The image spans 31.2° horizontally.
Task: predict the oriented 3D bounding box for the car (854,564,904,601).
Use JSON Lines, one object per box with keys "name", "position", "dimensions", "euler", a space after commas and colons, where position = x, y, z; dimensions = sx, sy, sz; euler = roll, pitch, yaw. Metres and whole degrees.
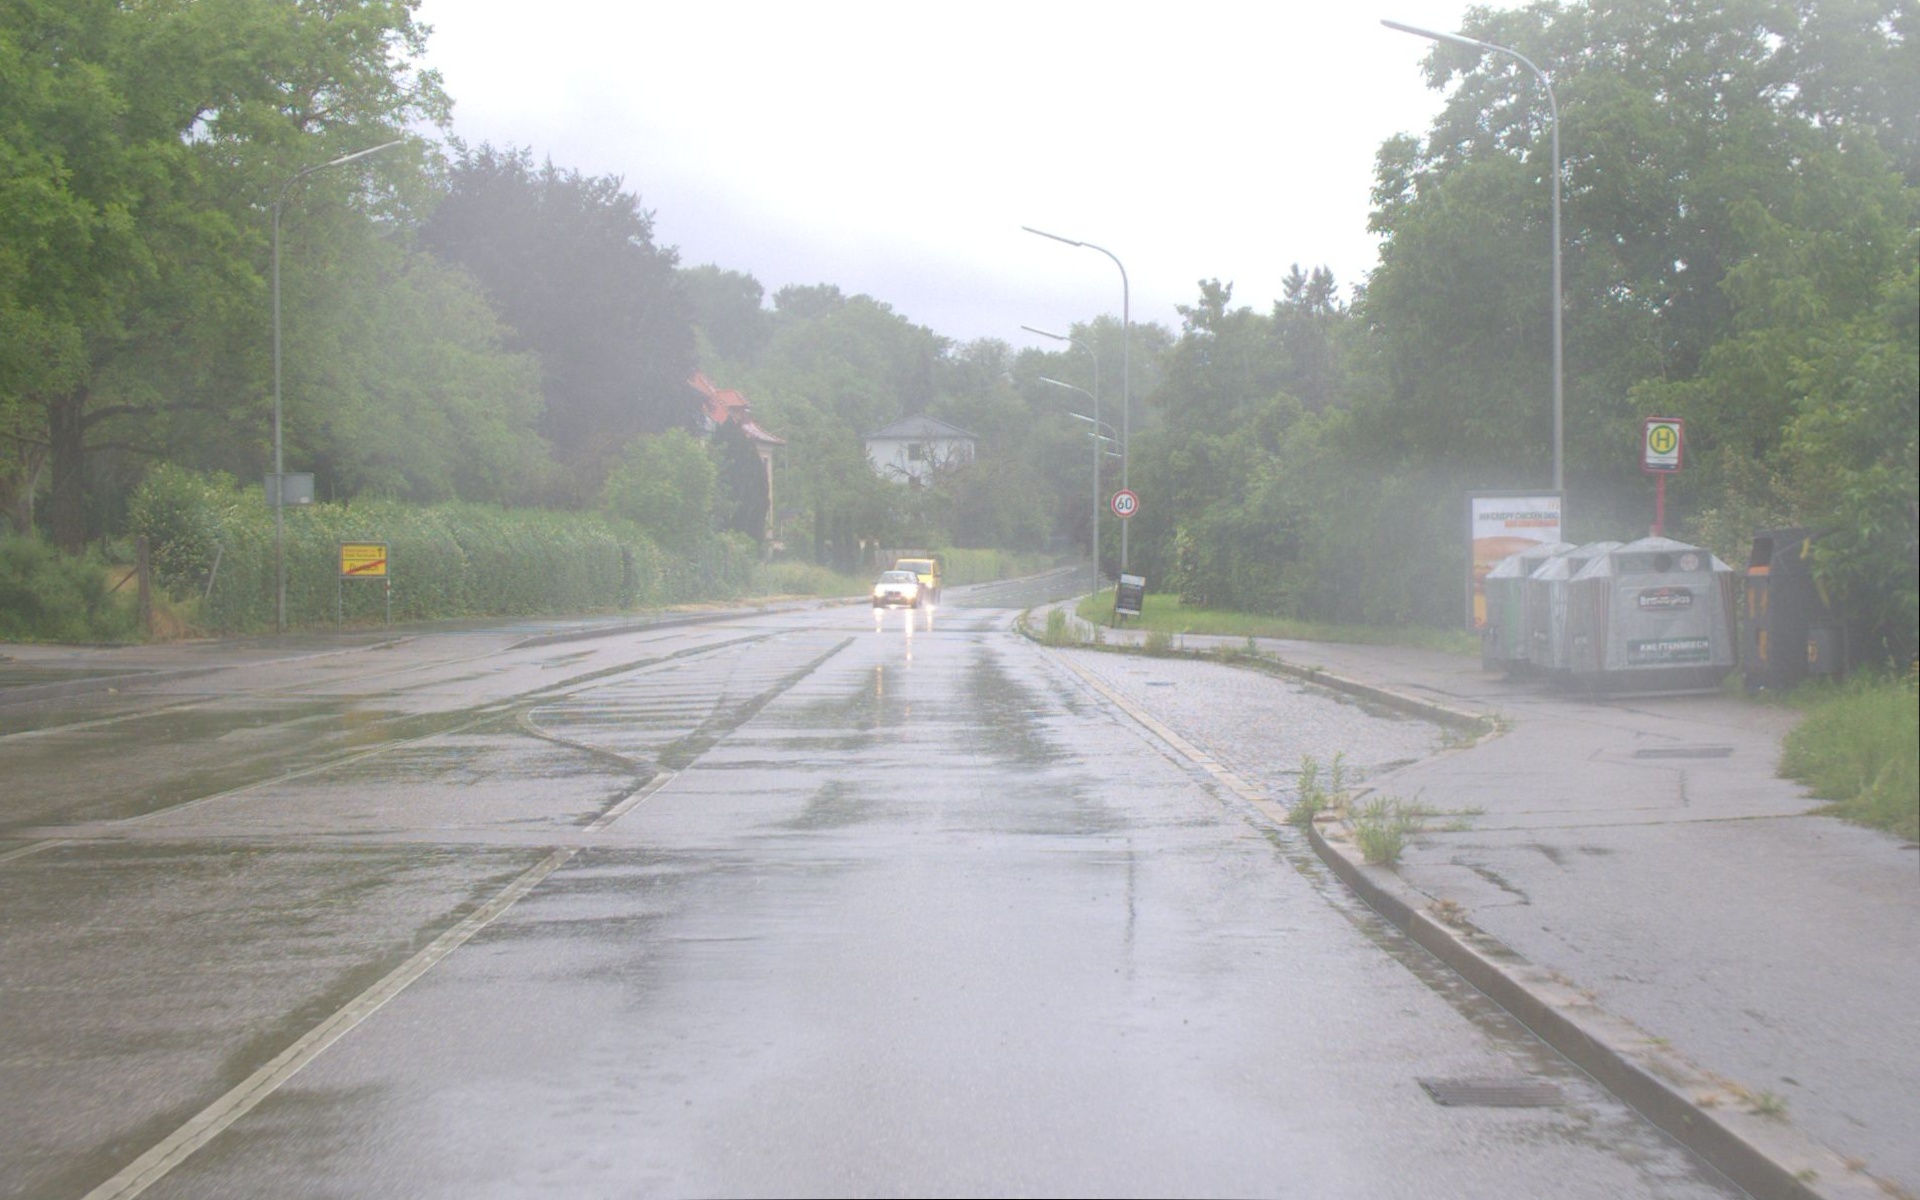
{"name": "car", "position": [-3.040, -0.656, 129.230], "dimensions": [1.701, 1.345, 3.905], "euler": [0, 1, 1]}
